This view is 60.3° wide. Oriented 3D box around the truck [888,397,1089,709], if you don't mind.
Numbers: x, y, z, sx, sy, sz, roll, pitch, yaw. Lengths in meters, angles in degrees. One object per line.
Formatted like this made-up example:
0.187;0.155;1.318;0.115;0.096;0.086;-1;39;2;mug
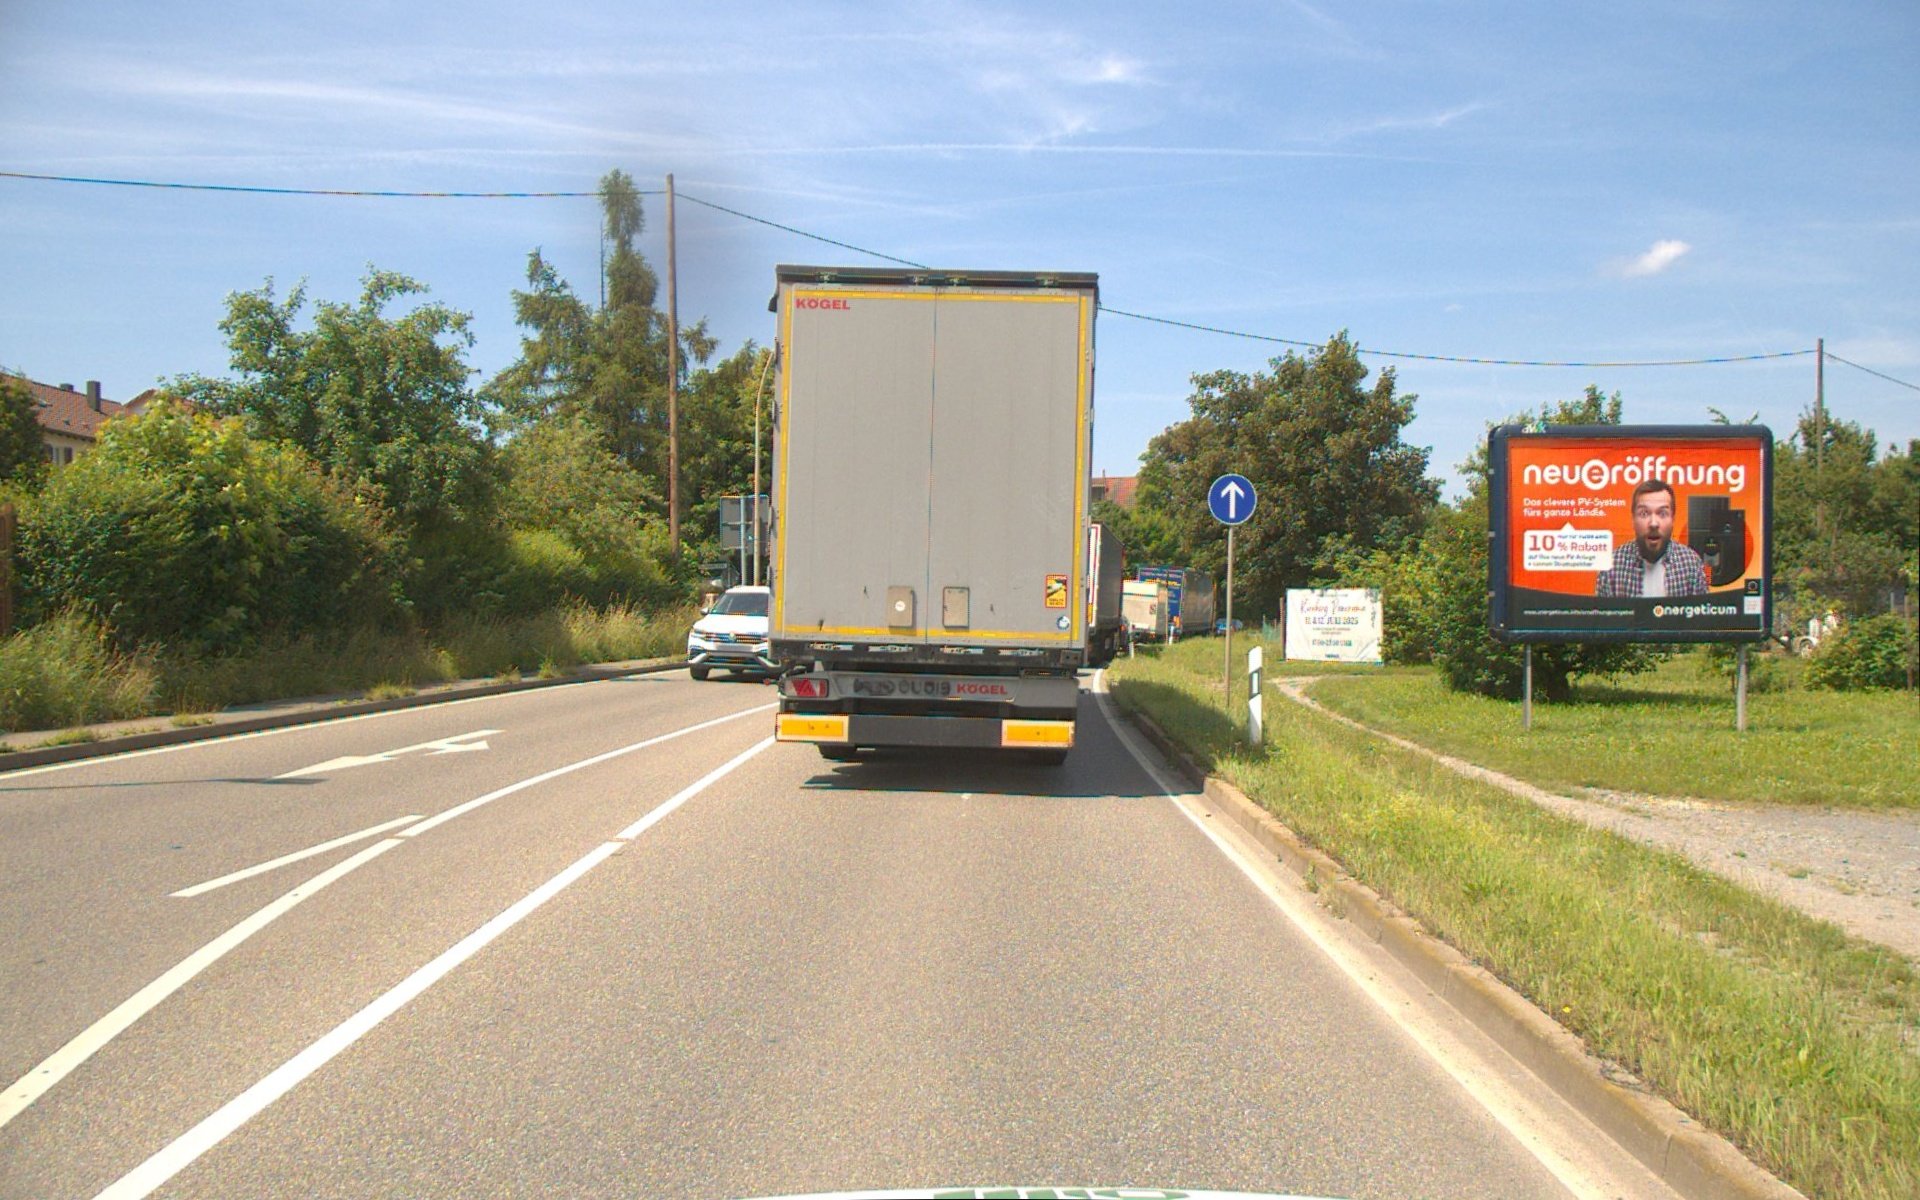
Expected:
0.584;-0.672;25.822;2.688;4.238;6.146;1;0;4;truck

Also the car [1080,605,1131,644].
6.032;0.994;68.249;1.802;1.512;4.003;1;0;9;car

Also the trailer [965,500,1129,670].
3.018;-0.397;51.652;3.808;4.600;12.723;1;0;9;trailer

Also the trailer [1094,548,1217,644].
11.036;-0.243;91.092;5.069;4.709;15.909;1;0;13;trailer

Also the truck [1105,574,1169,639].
8.329;0.271;77.363;2.369;2.888;5.417;1;0;12;truck

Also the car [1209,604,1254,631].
17.833;1.138;108.563;1.953;1.713;3.998;1;0;23;car

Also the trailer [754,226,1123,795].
0.151;-0.727;18.631;2.728;4.278;12.116;1;0;3;trailer

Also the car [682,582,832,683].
-3.642;0.548;30.478;1.807;1.684;4.406;1;0;5;car

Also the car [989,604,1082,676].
1.869;0.923;39.798;1.951;1.556;4.003;1;0;6;car

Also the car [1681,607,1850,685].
23.050;1.289;47.455;3.902;2.049;2.002;1;0;7;car

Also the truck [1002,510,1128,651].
3.851;-0.633;58.598;3.853;4.655;7.157;1;0;8;truck
